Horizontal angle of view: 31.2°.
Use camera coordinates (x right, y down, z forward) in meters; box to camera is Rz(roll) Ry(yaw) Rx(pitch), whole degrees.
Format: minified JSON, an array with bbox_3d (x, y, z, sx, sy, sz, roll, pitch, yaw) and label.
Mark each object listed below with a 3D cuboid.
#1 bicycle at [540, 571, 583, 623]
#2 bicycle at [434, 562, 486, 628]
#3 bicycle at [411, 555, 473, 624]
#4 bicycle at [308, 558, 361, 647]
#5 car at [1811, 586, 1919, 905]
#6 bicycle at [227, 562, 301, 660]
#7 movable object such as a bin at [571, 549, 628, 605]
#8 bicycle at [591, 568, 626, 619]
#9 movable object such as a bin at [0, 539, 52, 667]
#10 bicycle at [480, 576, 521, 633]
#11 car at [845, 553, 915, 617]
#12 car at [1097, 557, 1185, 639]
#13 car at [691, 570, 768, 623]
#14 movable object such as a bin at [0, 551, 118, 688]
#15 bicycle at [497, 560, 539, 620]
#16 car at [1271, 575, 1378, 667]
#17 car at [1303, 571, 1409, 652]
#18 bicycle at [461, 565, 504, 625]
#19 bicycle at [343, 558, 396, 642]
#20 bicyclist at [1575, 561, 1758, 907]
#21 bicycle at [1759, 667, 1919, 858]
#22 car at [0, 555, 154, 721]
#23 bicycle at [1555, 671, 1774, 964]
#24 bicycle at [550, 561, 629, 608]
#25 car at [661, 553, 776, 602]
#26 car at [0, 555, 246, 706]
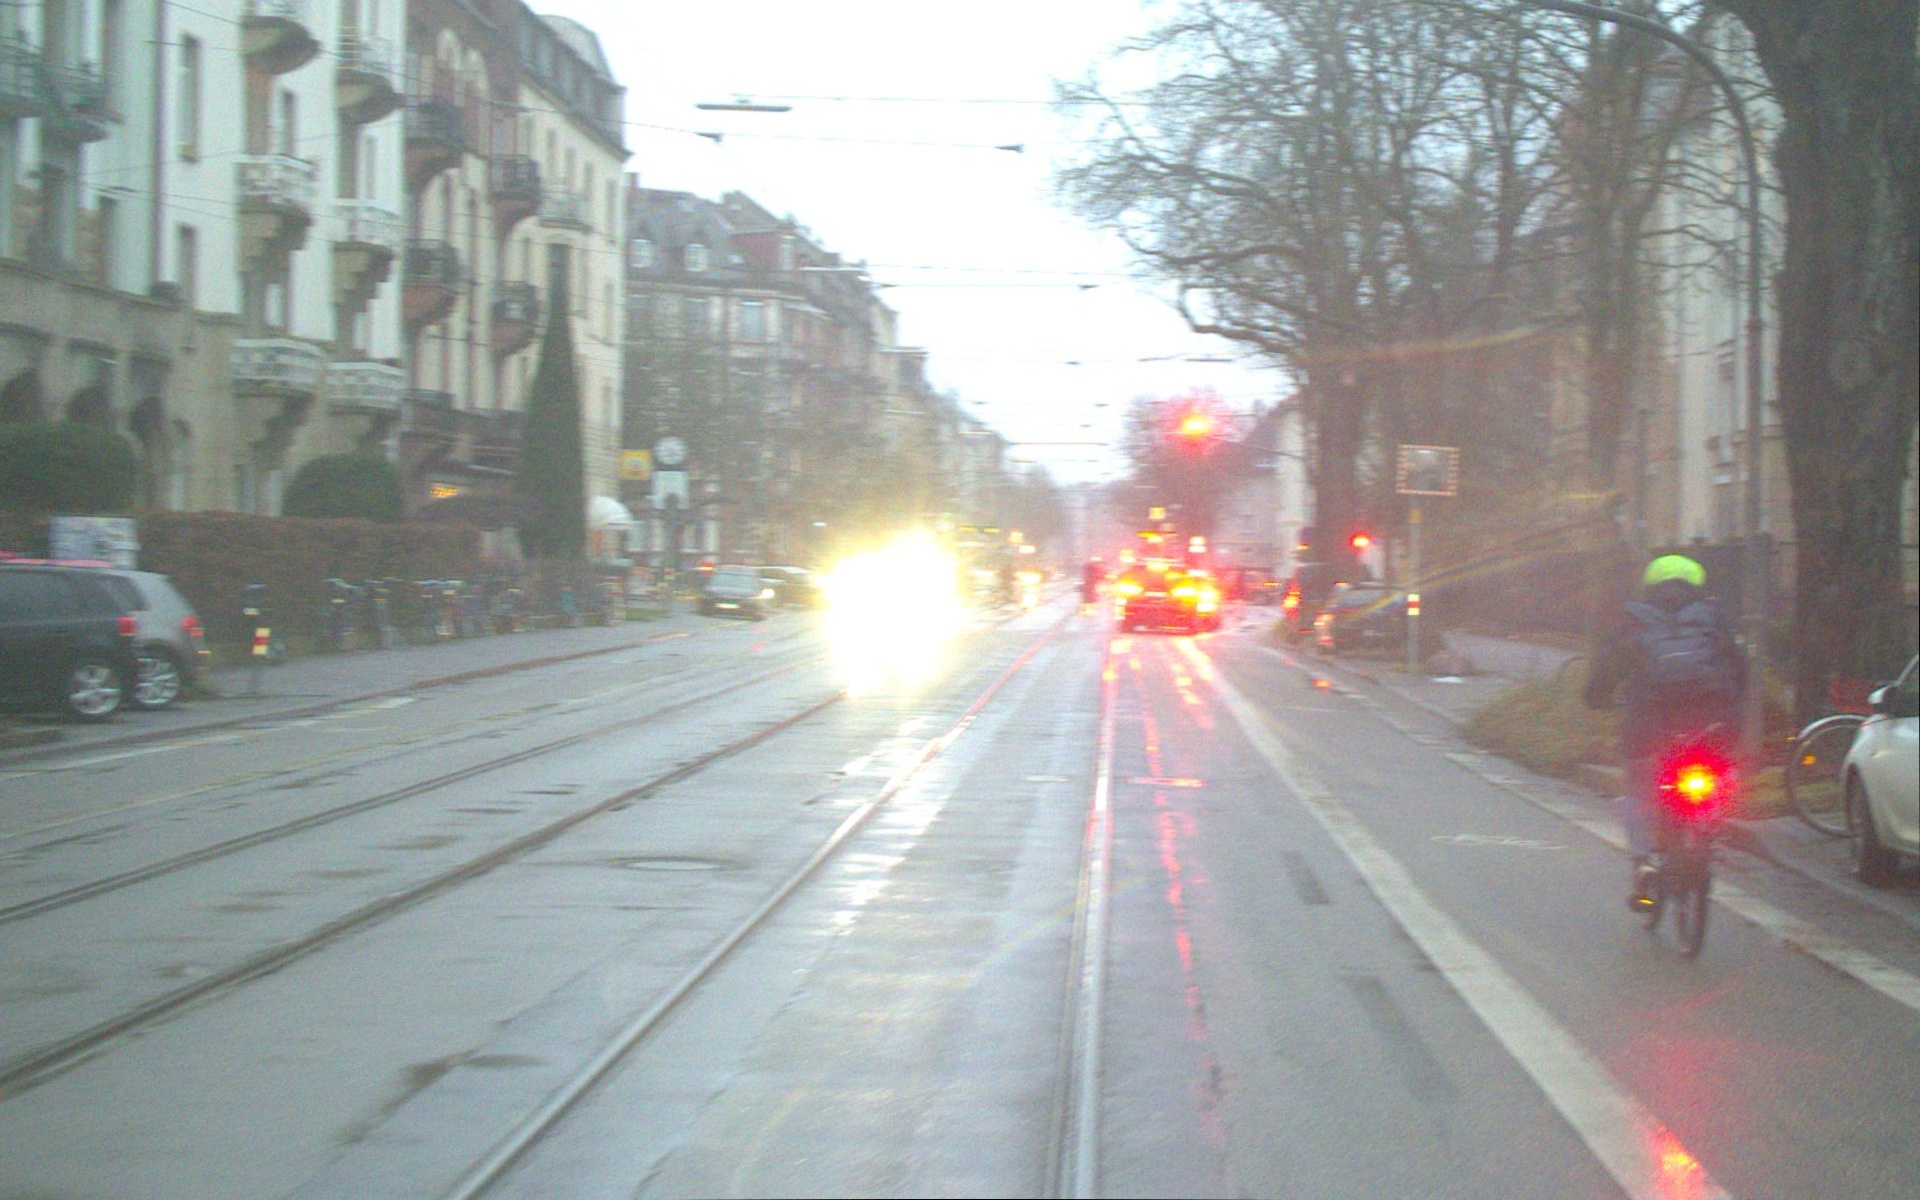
[{"bbox_3d":[-8.001,-0.063,69.028,0.625,1.014,1.805,0,1,1],"label":"bicycle"},{"bbox_3d":[-8.387,-0.077,57.744,0.692,1.027,1.596,0,-3,-2],"label":"bicycle"},{"bbox_3d":[-8.408,-0.161,55.845,0.692,1.027,1.594,0,-3,3],"label":"bicycle"},{"bbox_3d":[-8.826,0.030,48.532,0.629,1.208,1.597,0,1,-7],"label":"bicycle"},{"bbox_3d":[5.559,0.728,17.342,1.691,1.514,3.637,1,1,1],"label":"car"},{"bbox_3d":[-8.940,0.127,44.178,0.692,1.208,1.597,0,1,-3],"label":"bicycle"},{"bbox_3d":[-10.054,-0.650,95.922,1.409,1.525,1.365,1,1,3],"label":"movable object such as a bin"},{"bbox_3d":[-7.644,-0.145,74.811,0.614,1.077,1.811,0,1,-2],"label":"bicycle"},{"bbox_3d":[-11.433,0.016,39.961,1.263,1.445,1.325,1,1,10],"label":"movable object such as a bin"},{"bbox_3d":[-8.284,0.078,62.018,0.692,1.027,1.597,0,0,-7],"label":"bicycle"},{"bbox_3d":[-2.510,-0.490,109.157,2.046,1.915,5.100,1,1,0],"label":"car"},{"bbox_3d":[4.454,-0.033,85.160,1.993,1.890,4.758,2,0,2],"label":"car"},{"bbox_3d":[-6.790,-0.113,101.501,1.833,1.442,4.000,1,1,3],"label":"car"},{"bbox_3d":[-9.881,0.203,37.471,1.262,1.445,1.112,0,1,-19],"label":"movable object such as a bin"},{"bbox_3d":[-8.221,-0.187,63.977,0.486,1.096,1.931,0,1,1],"label":"bicycle"},{"bbox_3d":[8.167,0.441,77.448,1.993,1.894,5.027,1,1,2],"label":"car"},{"bbox_3d":[7.575,0.194,66.002,1.677,1.455,4.042,1,1,2],"label":"car"},{"bbox_3d":[-8.294,-0.079,59.735,0.692,1.027,1.597,0,-1,-7],"label":"bicycle"},{"bbox_3d":[-8.797,-0.011,51.226,0.692,1.208,1.597,0,1,-7],"label":"bicycle"},{"bbox_3d":[3.049,0.558,14.890,0.656,1.441,0.849,1,1,4],"label":"bicyclist"},{"bbox_3d":[5.611,0.948,20.136,1.713,1.067,0.663,1,1,3],"label":"bicycle"},{"bbox_3d":[-9.565,0.329,31.184,3.989,1.465,1.831,0,1,-42],"label":"car"},{"bbox_3d":[3.043,0.904,15.004,0.707,1.093,2.029,1,1,5],"label":"bicycle"},{"bbox_3d":[-8.642,-0.367,80.283,1.804,1.077,0.616,0,1,-4],"label":"bicycle"},{"bbox_3d":[-8.781,-0.832,125.195,3.987,1.722,1.740,1,1,4],"label":"car"},{"bbox_3d":[-9.346,0.278,34.197,3.988,1.423,1.848,-1,2,-40],"label":"car"}]
